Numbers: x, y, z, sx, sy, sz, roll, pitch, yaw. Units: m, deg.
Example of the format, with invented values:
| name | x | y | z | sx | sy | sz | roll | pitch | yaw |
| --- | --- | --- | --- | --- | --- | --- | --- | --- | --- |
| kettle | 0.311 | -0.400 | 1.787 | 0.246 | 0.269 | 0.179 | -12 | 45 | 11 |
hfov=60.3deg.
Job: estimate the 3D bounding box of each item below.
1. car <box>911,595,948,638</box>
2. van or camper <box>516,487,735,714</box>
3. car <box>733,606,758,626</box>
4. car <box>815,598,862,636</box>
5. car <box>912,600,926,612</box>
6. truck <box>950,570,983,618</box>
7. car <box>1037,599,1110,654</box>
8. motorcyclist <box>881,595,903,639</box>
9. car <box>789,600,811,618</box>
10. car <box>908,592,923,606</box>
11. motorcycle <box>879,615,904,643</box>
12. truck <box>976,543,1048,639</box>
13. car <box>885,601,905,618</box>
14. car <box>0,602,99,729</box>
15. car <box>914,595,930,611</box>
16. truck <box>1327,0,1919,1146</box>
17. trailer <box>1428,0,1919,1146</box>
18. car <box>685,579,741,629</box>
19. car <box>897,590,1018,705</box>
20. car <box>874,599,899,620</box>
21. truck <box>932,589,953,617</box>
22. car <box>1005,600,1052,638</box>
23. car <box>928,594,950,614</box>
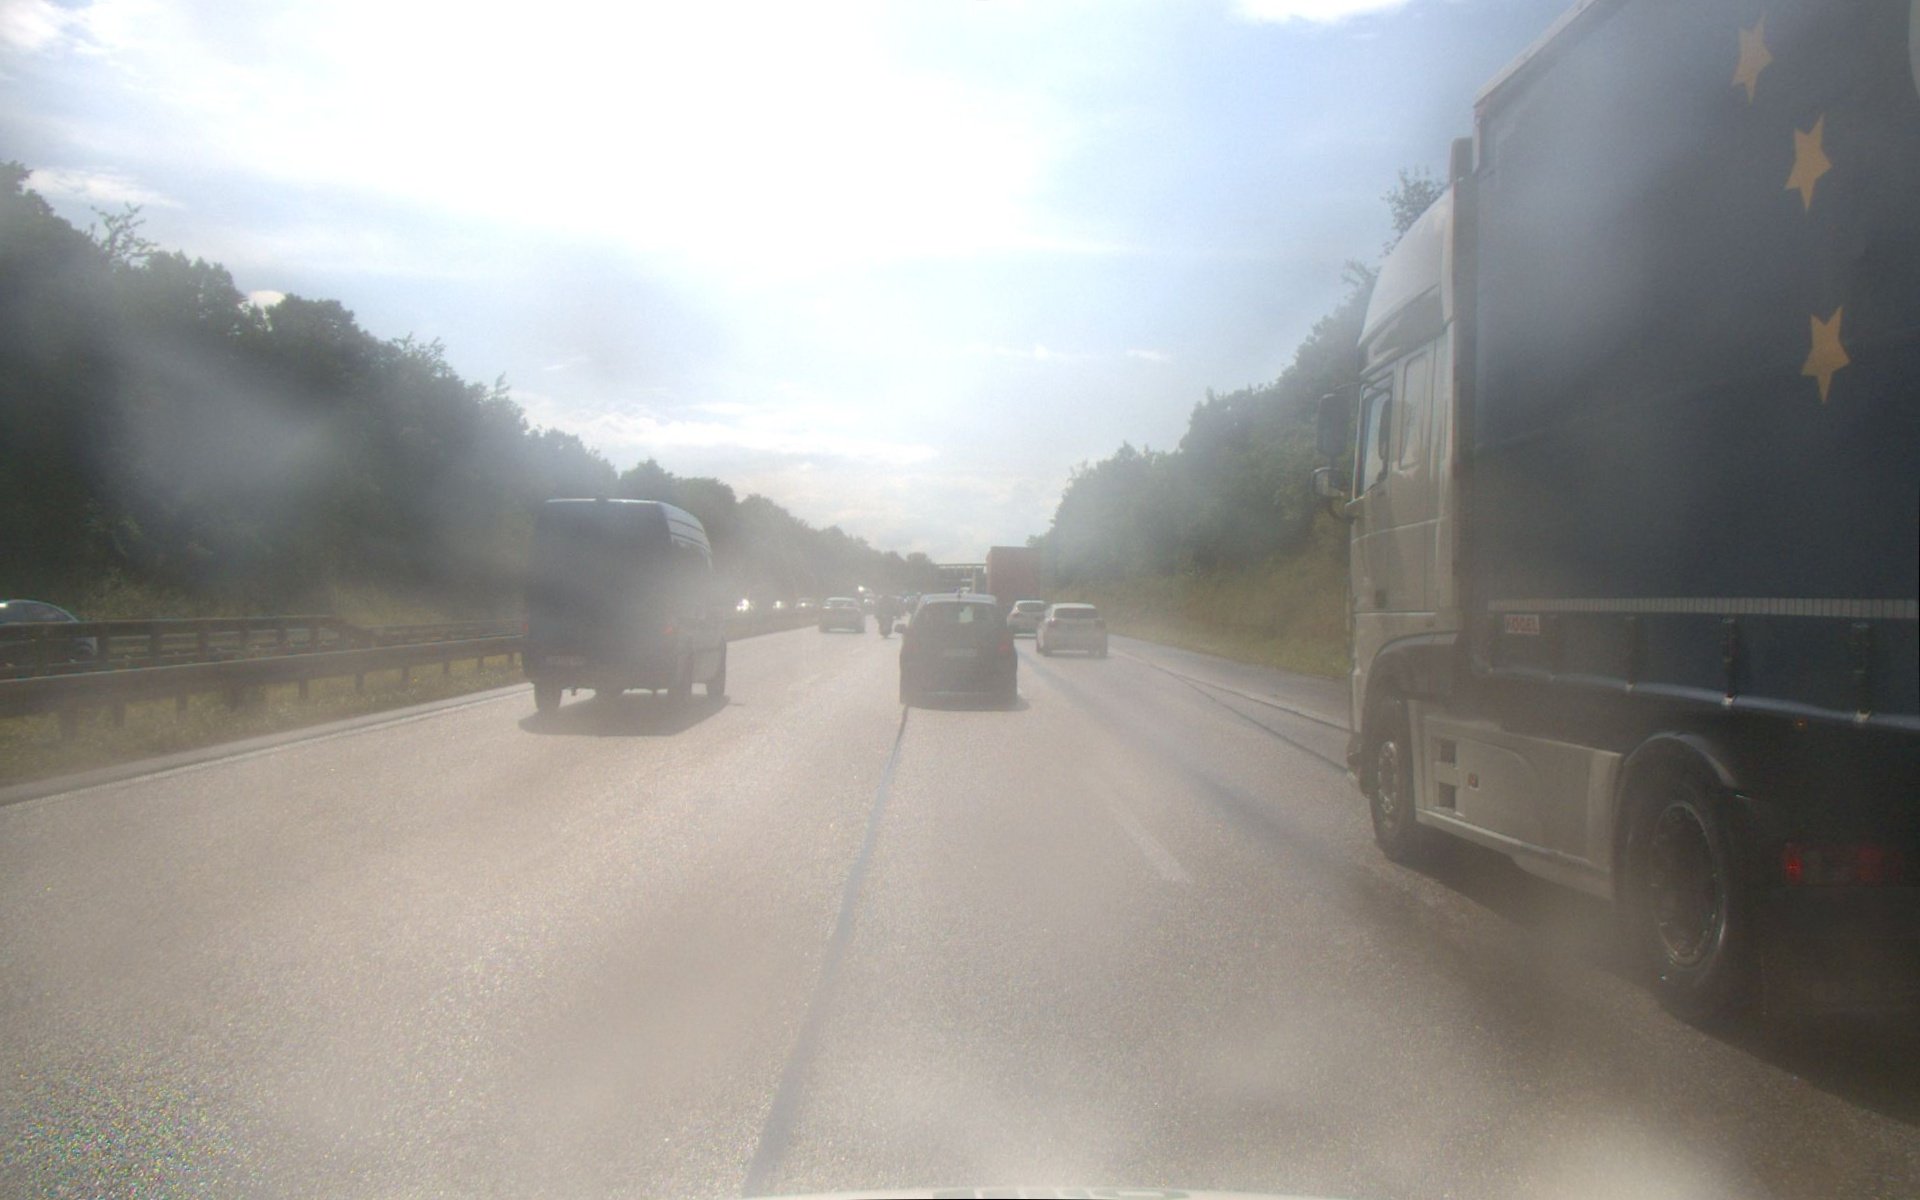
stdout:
| name | x | y | z | sx | sy | sz | roll | pitch | yaw |
| --- | --- | --- | --- | --- | --- | --- | --- | --- | --- |
| car | -1.294 | 0.682 | 70.123 | 1.500 | 1.777 | 3.484 | 1 | 0 | -1 |
| van or camper | -4.404 | 0.019 | 22.658 | 1.953 | 2.715 | 5.383 | 1 | 0 | -1 |
| car | -18.739 | 1.398 | 144.847 | 1.665 | 1.692 | 4.235 | 1 | 0 | -1 |
| car | -5.252 | 0.742 | 71.711 | 1.817 | 1.578 | 3.484 | 1 | 0 | -1 |
| car | -5.965 | 0.818 | 240.220 | 1.953 | 1.731 | 3.999 | 0 | 0 | -1 |
| truck | 0.707 | -0.556 | 168.085 | 3.189 | 4.558 | 12.421 | 1 | 0 | 1 |
| car | 3.129 | 0.725 | 46.367 | 1.658 | 1.450 | 4.219 | 1 | 0 | -1 |
| motorcyclist | -2.581 | 0.650 | 62.709 | 0.785 | 1.662 | 1.013 | 1 | -1 | -1 |
| car | -15.517 | 0.864 | 160.809 | 1.800 | 1.692 | 4.440 | 1 | 0 | -1 |
| car | -4.661 | -0.061 | 173.200 | 1.455 | 1.414 | 3.197 | 1 | 0 | -1 |
| motorcycle | -2.604 | 1.081 | 62.758 | 0.872 | 1.018 | 2.895 | 1 | 0 | -1 |
| truck | 2.735 | -0.423 | 92.055 | 3.575 | 4.803 | 16.779 | 1 | 0 | 1 |
| car | -5.644 | 0.816 | 143.967 | 1.716 | 1.482 | 3.389 | 1 | 0 | -1 |
| car | -13.756 | 0.875 | 22.733 | 1.731 | 1.692 | 4.111 | 1 | 0 | -1 |
| car | -4.980 | 0.377 | 216.643 | 1.953 | 2.049 | 3.999 | 0 | 0 | -1 |
| truck | 3.862 | -0.523 | 7.763 | 2.554 | 4.066 | 7.289 | 1 | 0 | -1 |
| trailer | 3.934 | -0.550 | 1.992 | 2.581 | 4.065 | 14.062 | 1 | 0 | -1 |
| car | -12.838 | 0.219 | 86.266 | 2.139 | 2.495 | 5.746 | 1 | 0 | -1 |
| car | -0.068 | 0.685 | 25.128 | 1.683 | 1.595 | 3.484 | 1 | 0 | -1 |
| car | -5.346 | 0.684 | 120.674 | 1.716 | 1.482 | 3.389 | 1 | 0 | -1 |
| truck | -1.894 | 0.304 | 179.042 | 2.147 | 2.926 | 4.848 | 1 | 0 | -1 |
| car | 2.739 | 0.743 | 66.835 | 1.646 | 1.467 | 3.904 | 1 | 0 | -1 |
| car | -1.546 | 0.281 | 119.568 | 1.521 | 1.407 | 3.209 | 1 | 0 | -1 |
